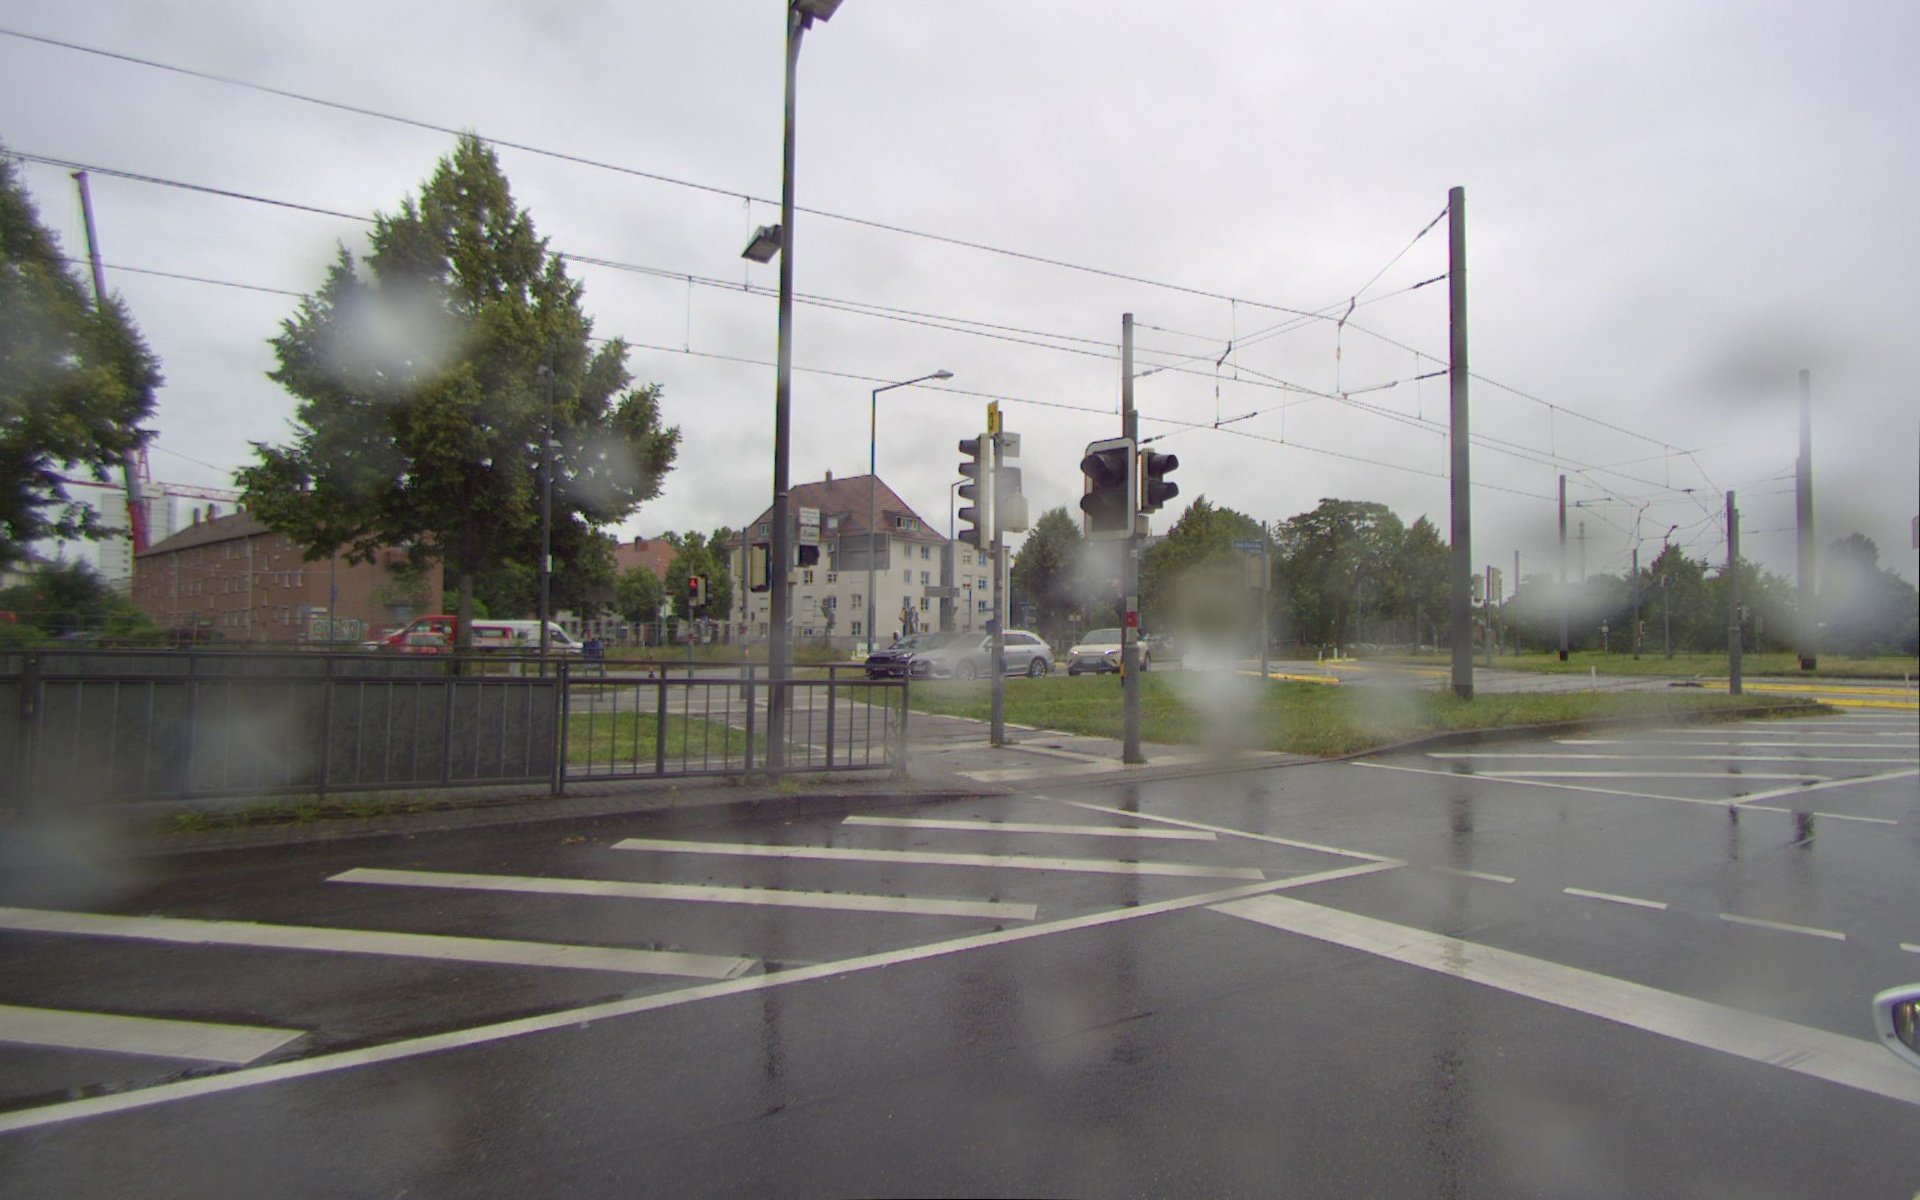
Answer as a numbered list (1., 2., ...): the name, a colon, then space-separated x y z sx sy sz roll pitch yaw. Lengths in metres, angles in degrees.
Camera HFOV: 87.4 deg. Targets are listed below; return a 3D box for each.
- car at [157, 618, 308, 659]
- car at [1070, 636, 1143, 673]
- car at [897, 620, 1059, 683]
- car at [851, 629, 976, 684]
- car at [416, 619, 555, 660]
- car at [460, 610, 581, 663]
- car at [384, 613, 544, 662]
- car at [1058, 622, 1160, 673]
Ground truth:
1. car: -39.726 2.104 55.014 2.325 2.040 6.388 2 0 44
2. car: 10.362 3.843 71.300 4.750 2.358 1.998 2 0 -6
3. car: 0.582 1.346 27.372 1.805 1.506 4.601 2 0 42
4. car: -1.372 1.698 31.173 1.801 1.506 3.987 2 0 35
5. car: -24.817 2.073 52.828 6.329 2.040 2.347 1 -2 -20
6. car: -26.057 2.157 59.800 6.329 2.978 2.346 2 0 -20
7. car: -22.769 1.722 46.450 6.329 2.040 2.346 2 0 -20
8. car: 4.961 1.507 32.983 1.819 1.506 4.217 2 0 31
